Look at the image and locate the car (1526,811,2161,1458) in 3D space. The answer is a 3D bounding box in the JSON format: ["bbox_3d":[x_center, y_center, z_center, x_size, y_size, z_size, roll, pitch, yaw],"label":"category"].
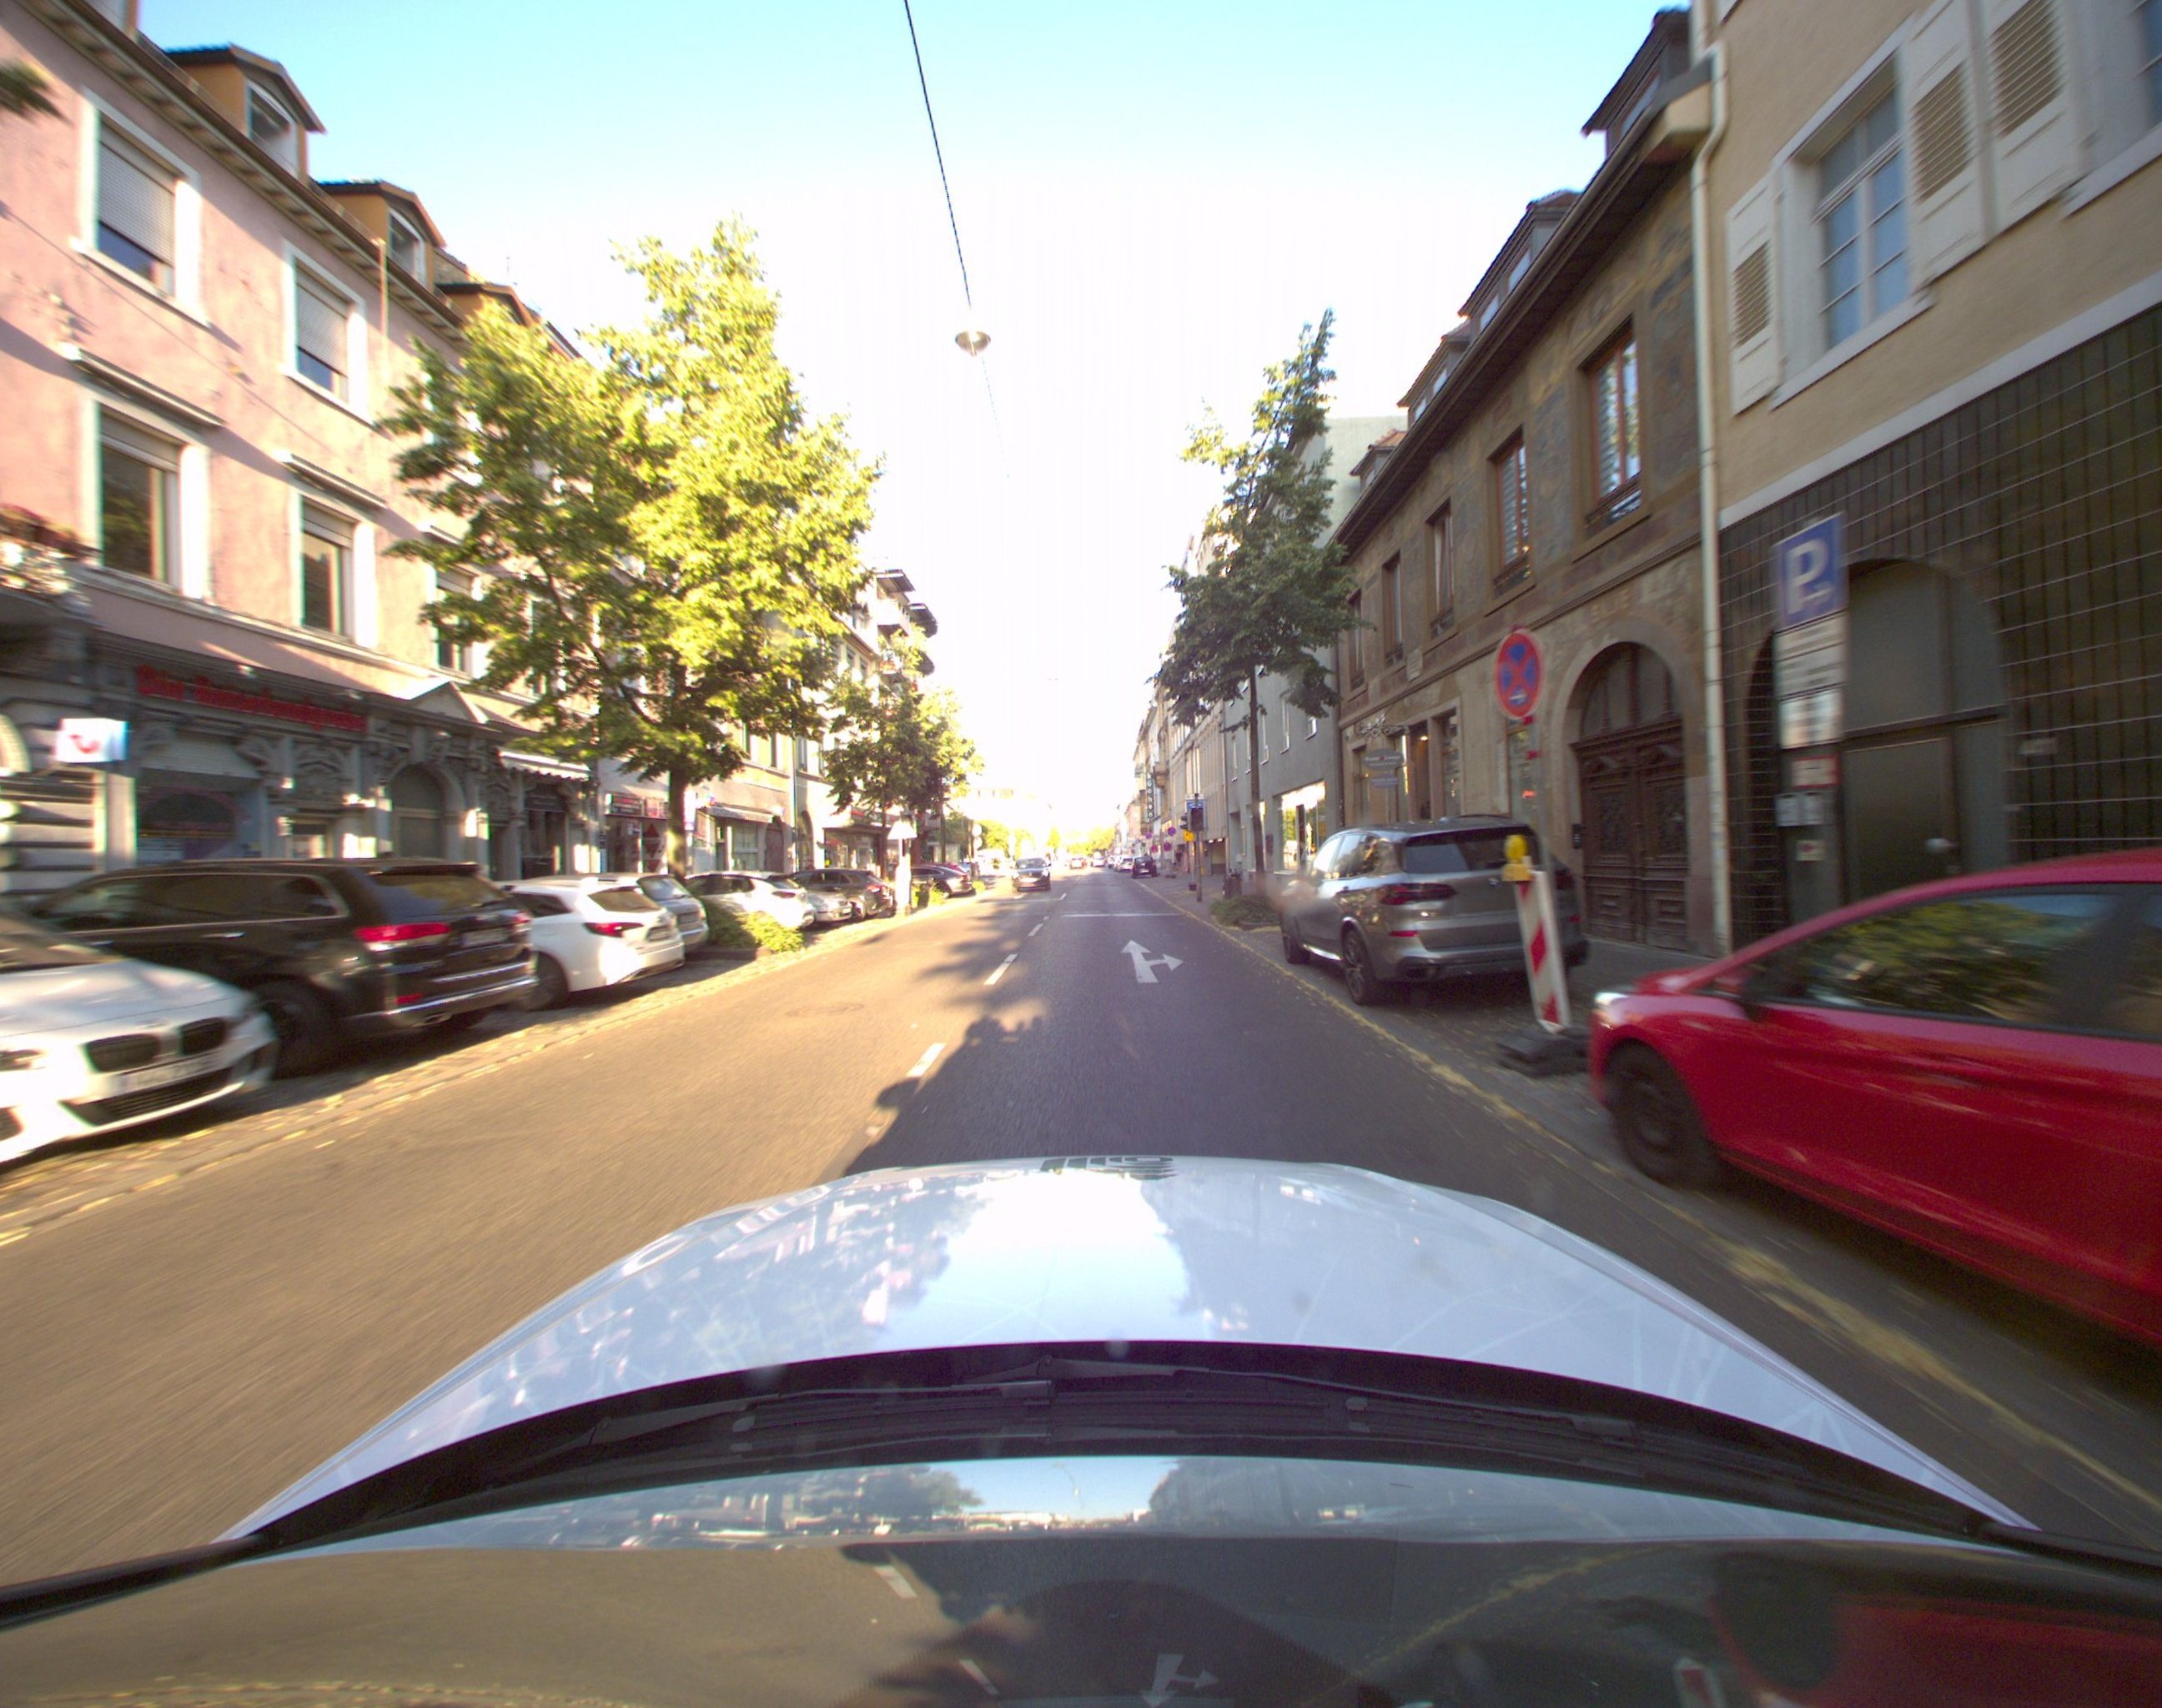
[{"bbox_3d":[3.379,0.637,2.548,1.724,1.487,3.899,-4,0,-1],"label":"car"}]

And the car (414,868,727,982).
[{"bbox_3d":[-7.462,0.997,12.168,3.545,1.502,1.715,-1,0,-1],"label":"car"}]

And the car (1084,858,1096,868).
[{"bbox_3d":[1.530,1.553,137.002,1.890,1.581,3.851,1,0,0],"label":"car"}]

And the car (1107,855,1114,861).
[{"bbox_3d":[8.221,1.168,228.993,1.890,1.581,3.851,-2,0,0],"label":"car"}]

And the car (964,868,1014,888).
[{"bbox_3d":[-7.614,1.984,67.932,3.976,1.581,1.901,0,-1,-2],"label":"car"}]

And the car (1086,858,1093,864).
[{"bbox_3d":[2.478,1.960,232.069,1.774,1.547,3.999,-2,0,0],"label":"car"}]

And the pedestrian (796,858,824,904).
[{"bbox_3d":[-10.383,1.046,31.271,0.769,1.721,0.876,-1,-2,1],"label":"pedestrian"}]

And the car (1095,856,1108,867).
[{"bbox_3d":[3.151,1.120,123.851,1.890,1.581,4.000,0,-1,0],"label":"car"}]

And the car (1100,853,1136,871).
[{"bbox_3d":[3.694,0.842,83.212,2.001,1.761,4.433,-2,-1,-21],"label":"car"}]

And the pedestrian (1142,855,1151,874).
[{"bbox_3d":[6.581,1.022,81.946,0.770,1.827,1.010,-4,0,0],"label":"pedestrian"}]

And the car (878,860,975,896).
[{"bbox_3d":[-7.047,1.072,37.530,4.058,1.536,1.884,-1,0,0],"label":"car"}]

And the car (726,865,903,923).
[{"bbox_3d":[-7.047,1.039,21.851,4.095,1.403,1.883,-1,0,-2],"label":"car"}]

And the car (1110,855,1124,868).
[{"bbox_3d":[4.865,1.026,109.787,1.724,1.651,4.284,0,-1,0],"label":"car"}]

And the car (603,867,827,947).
[{"bbox_3d":[-7.347,1.032,16.641,3.728,1.444,1.804,-1,0,-2],"label":"car"}]

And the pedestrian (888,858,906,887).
[{"bbox_3d":[-10.321,1.043,45.638,0.769,1.608,0.876,-1,-2,1],"label":"pedestrian"}]

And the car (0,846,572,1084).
[{"bbox_3d":[-7.213,0.864,7.230,4.138,1.773,1.889,-1,0,-2],"label":"car"}]

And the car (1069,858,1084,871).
[{"bbox_3d":[-0.567,1.363,107.985,1.890,1.649,4.104,-2,-1,0],"label":"car"}]

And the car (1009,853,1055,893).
[{"bbox_3d":[-2.327,0.885,39.921,1.855,1.692,4.461,-2,1,0],"label":"car"}]

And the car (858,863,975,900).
[{"bbox_3d":[-6.889,1.140,34.386,4.557,1.407,1.821,-1,0,-1],"label":"car"}]

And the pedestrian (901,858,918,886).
[{"bbox_3d":[-9.630,1.014,45.831,0.731,1.528,0.876,-1,-2,1],"label":"pedestrian"}]

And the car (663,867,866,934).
[{"bbox_3d":[-7.497,1.085,19.568,4.081,1.403,1.844,-2,0,2],"label":"car"}]

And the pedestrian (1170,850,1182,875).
[{"bbox_3d":[6.376,0.567,54.681,0.603,1.599,0.773,-2,0,-3],"label":"pedestrian"}]

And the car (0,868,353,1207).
[{"bbox_3d":[-7.419,0.939,4.849,4.392,1.596,1.889,-1,0,-1],"label":"car"}]

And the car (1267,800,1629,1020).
[{"bbox_3d":[3.659,0.478,9.289,2.031,1.737,4.713,-4,0,2],"label":"car"}]

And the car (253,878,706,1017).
[{"bbox_3d":[-7.069,1.058,9.935,4.138,1.421,1.766,-1,0,-2],"label":"car"}]

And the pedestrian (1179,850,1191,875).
[{"bbox_3d":[6.989,0.573,54.723,0.603,1.599,0.773,-2,0,-3],"label":"pedestrian"}]

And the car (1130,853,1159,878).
[{"bbox_3d":[4.401,0.788,57.091,1.752,1.536,4.002,-5,0,2],"label":"car"}]

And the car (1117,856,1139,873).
[{"bbox_3d":[4.335,0.994,75.622,1.754,1.537,4.819,0,-1,-1],"label":"car"}]
